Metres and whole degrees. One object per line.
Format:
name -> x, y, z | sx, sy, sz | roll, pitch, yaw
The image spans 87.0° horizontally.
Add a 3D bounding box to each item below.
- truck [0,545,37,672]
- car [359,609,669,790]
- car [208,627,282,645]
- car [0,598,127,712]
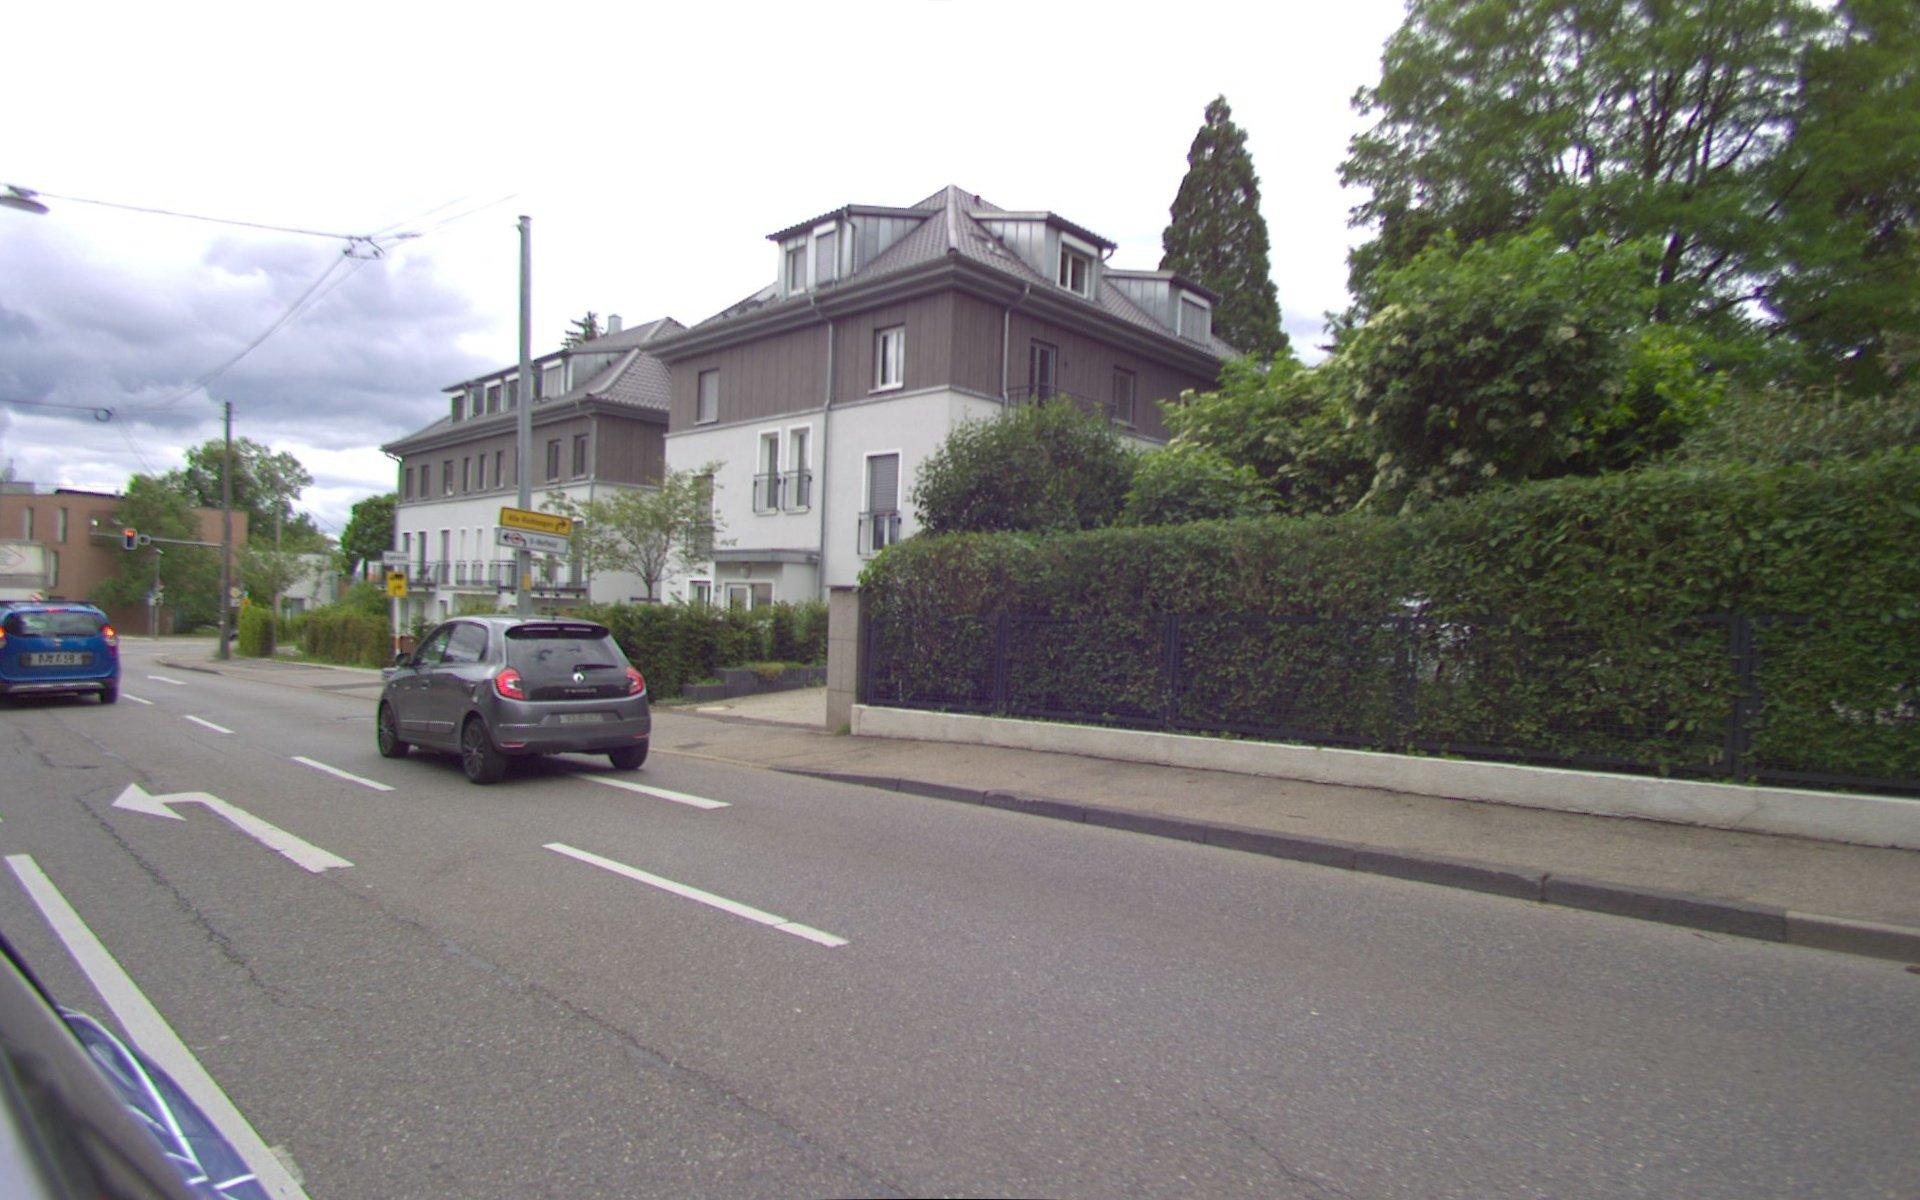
truck -> -29.505, 0.208, 29.749 | 7.492, 3.487, 2.748 | 0, -1, 42
car -> -4.667, 0.908, 10.389 | 3.536, 1.530, 1.666 | -2, -3, 43
car -> -51.580, 2.567, 73.059 | 1.985, 1.253, 3.973 | 1, -1, 20
car -> -15.846, 0.907, 17.401 | 4.378, 1.730, 1.786 | -2, -2, 43
